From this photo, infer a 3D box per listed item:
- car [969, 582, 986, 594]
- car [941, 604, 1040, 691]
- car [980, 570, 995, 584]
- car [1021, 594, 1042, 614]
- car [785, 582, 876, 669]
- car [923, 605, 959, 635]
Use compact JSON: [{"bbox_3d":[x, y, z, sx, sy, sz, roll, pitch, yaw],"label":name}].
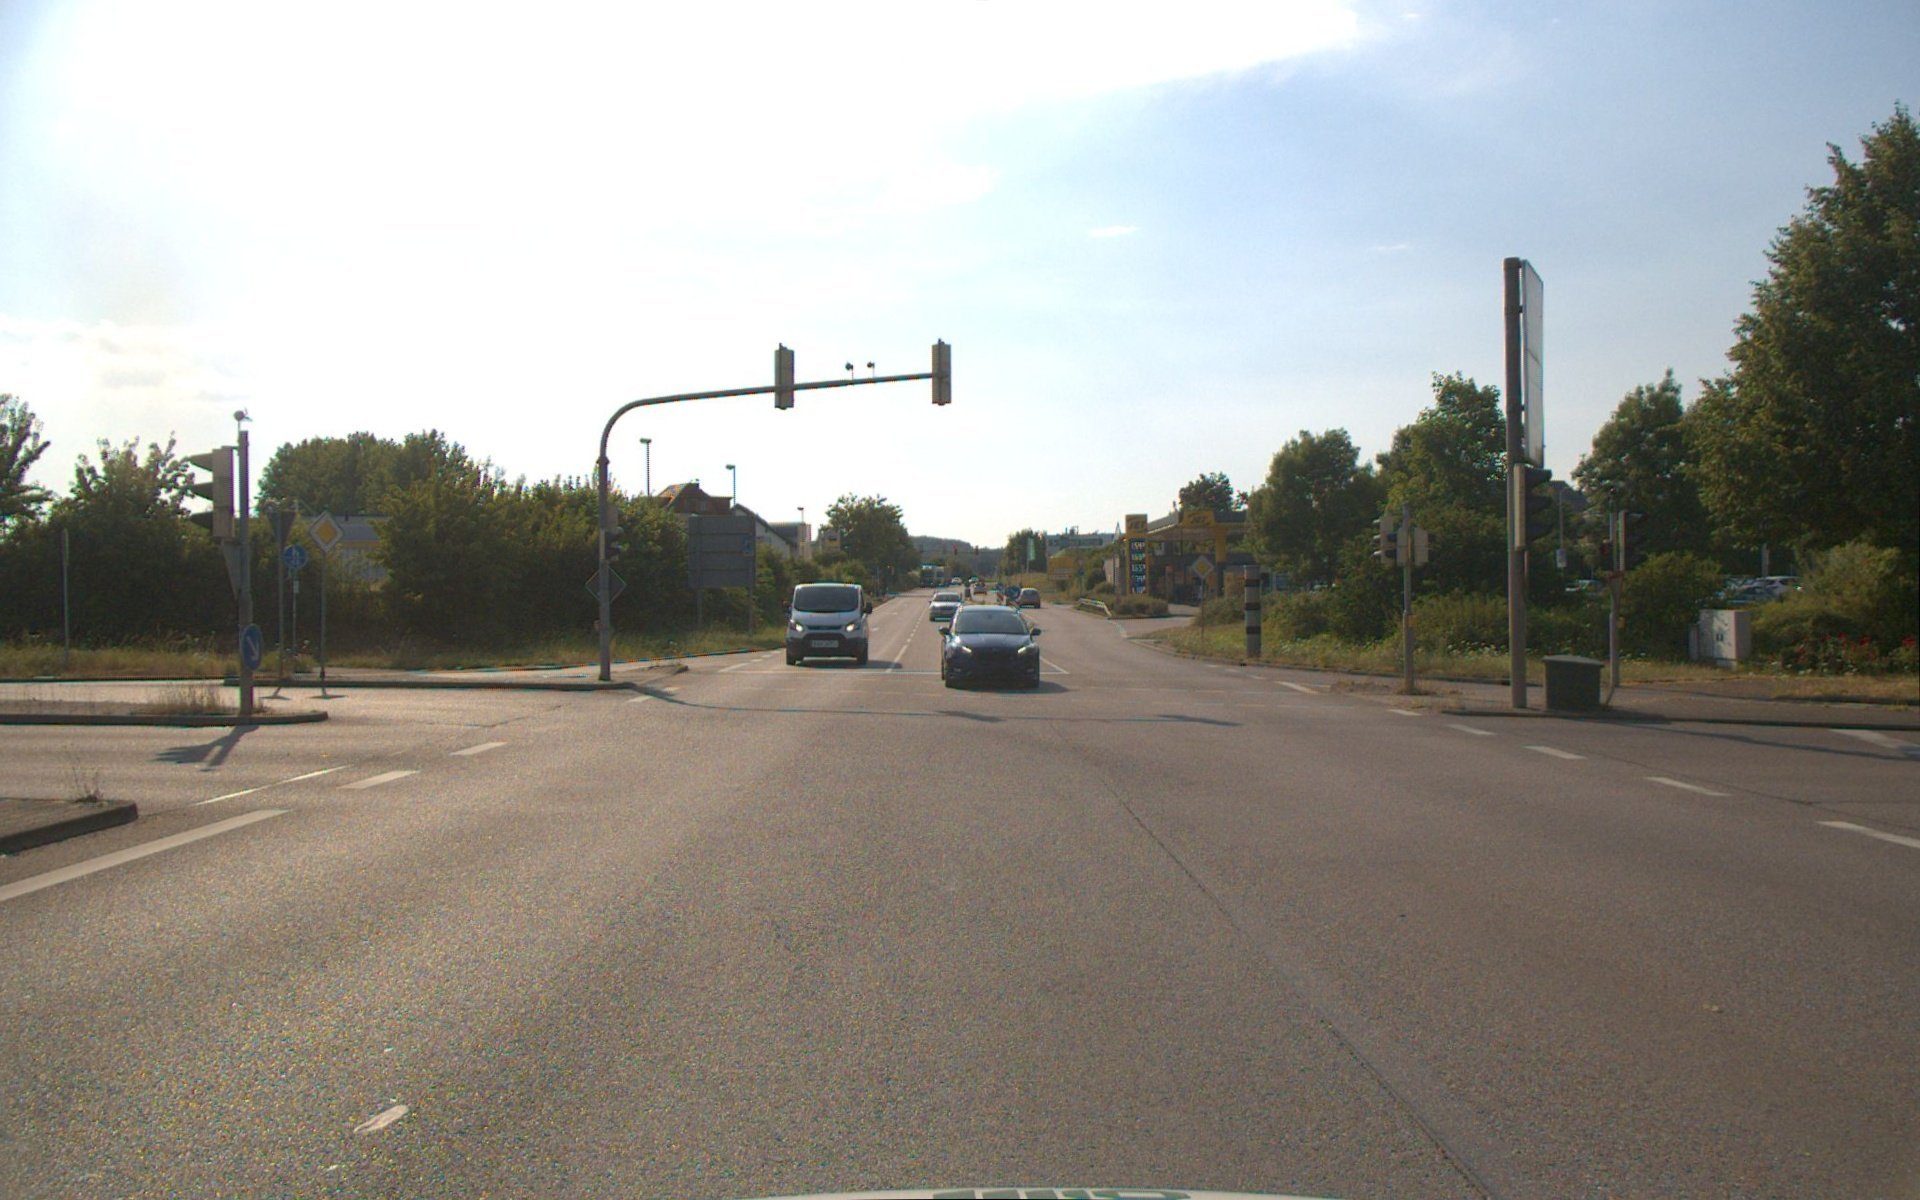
[{"bbox_3d":[2.147,-1.445,202.200,1.707,1.376,3.200,1,-1,-5],"label":"car"},{"bbox_3d":[0.619,0.881,31.860,1.751,1.524,4.303,1,-1,2],"label":"car"},{"bbox_3d":[4.165,-3.472,250.934,1.954,2.049,3.996,1,-1,-5],"label":"car"},{"bbox_3d":[5.432,0.296,125.416,1.518,1.474,3.050,1,-1,1],"label":"car"},{"bbox_3d":[-3.195,0.586,41.664,1.861,1.981,4.818,1,1,0],"label":"car"},{"bbox_3d":[-1.039,1.103,88.920,1.819,1.540,4.952,1,-1,-1],"label":"car"}]
